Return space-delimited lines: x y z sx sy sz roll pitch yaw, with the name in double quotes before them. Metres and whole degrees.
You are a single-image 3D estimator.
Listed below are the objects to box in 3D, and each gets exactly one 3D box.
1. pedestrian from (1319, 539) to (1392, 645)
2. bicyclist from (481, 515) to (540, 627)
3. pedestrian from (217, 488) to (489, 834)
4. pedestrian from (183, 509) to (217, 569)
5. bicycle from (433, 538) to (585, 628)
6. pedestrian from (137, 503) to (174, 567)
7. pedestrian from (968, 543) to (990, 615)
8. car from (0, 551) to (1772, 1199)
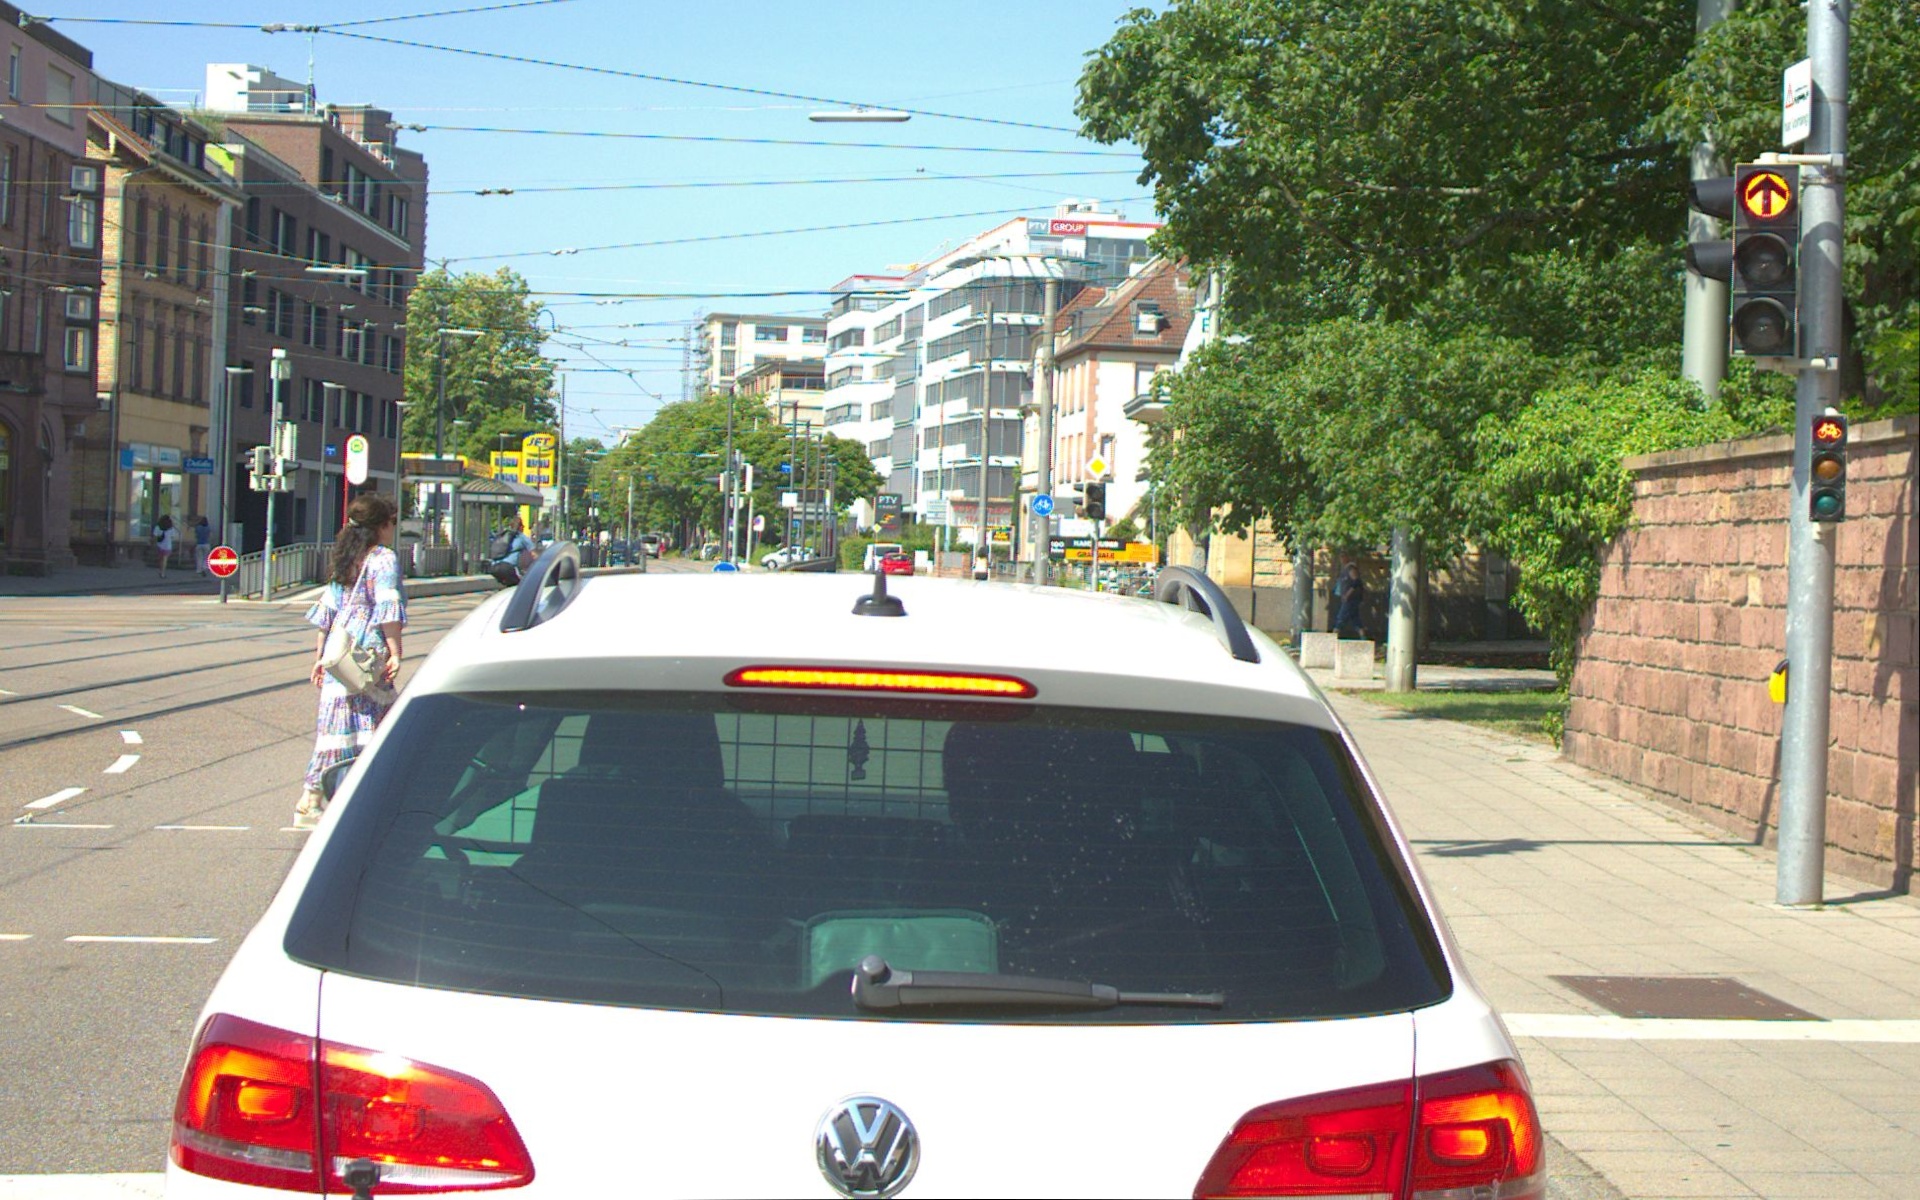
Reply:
"pedestrian" 6.564 -0.132 57.021 0.973 1.737 0.863 0 0 25
"bicyclist" -6.527 -0.420 49.942 0.636 1.607 0.562 0 0 -41
"pedestrian" -3.003 0.289 17.006 0.972 1.645 0.955 0 0 -40
"pedestrian" -22.208 -1.780 100.425 0.861 1.737 0.975 0 0 -6
"bicycle" -6.544 -0.239 49.924 2.243 1.293 0.560 0 0 -41
"pedestrian" -22.004 -1.778 94.011 0.861 1.737 0.975 0 0 -6
"pedestrian" 0.615 -0.689 111.667 0.690 2.317 1.232 0 0 1
"car" -0.141 0.679 5.448 1.808 1.443 4.000 2 1 -1
